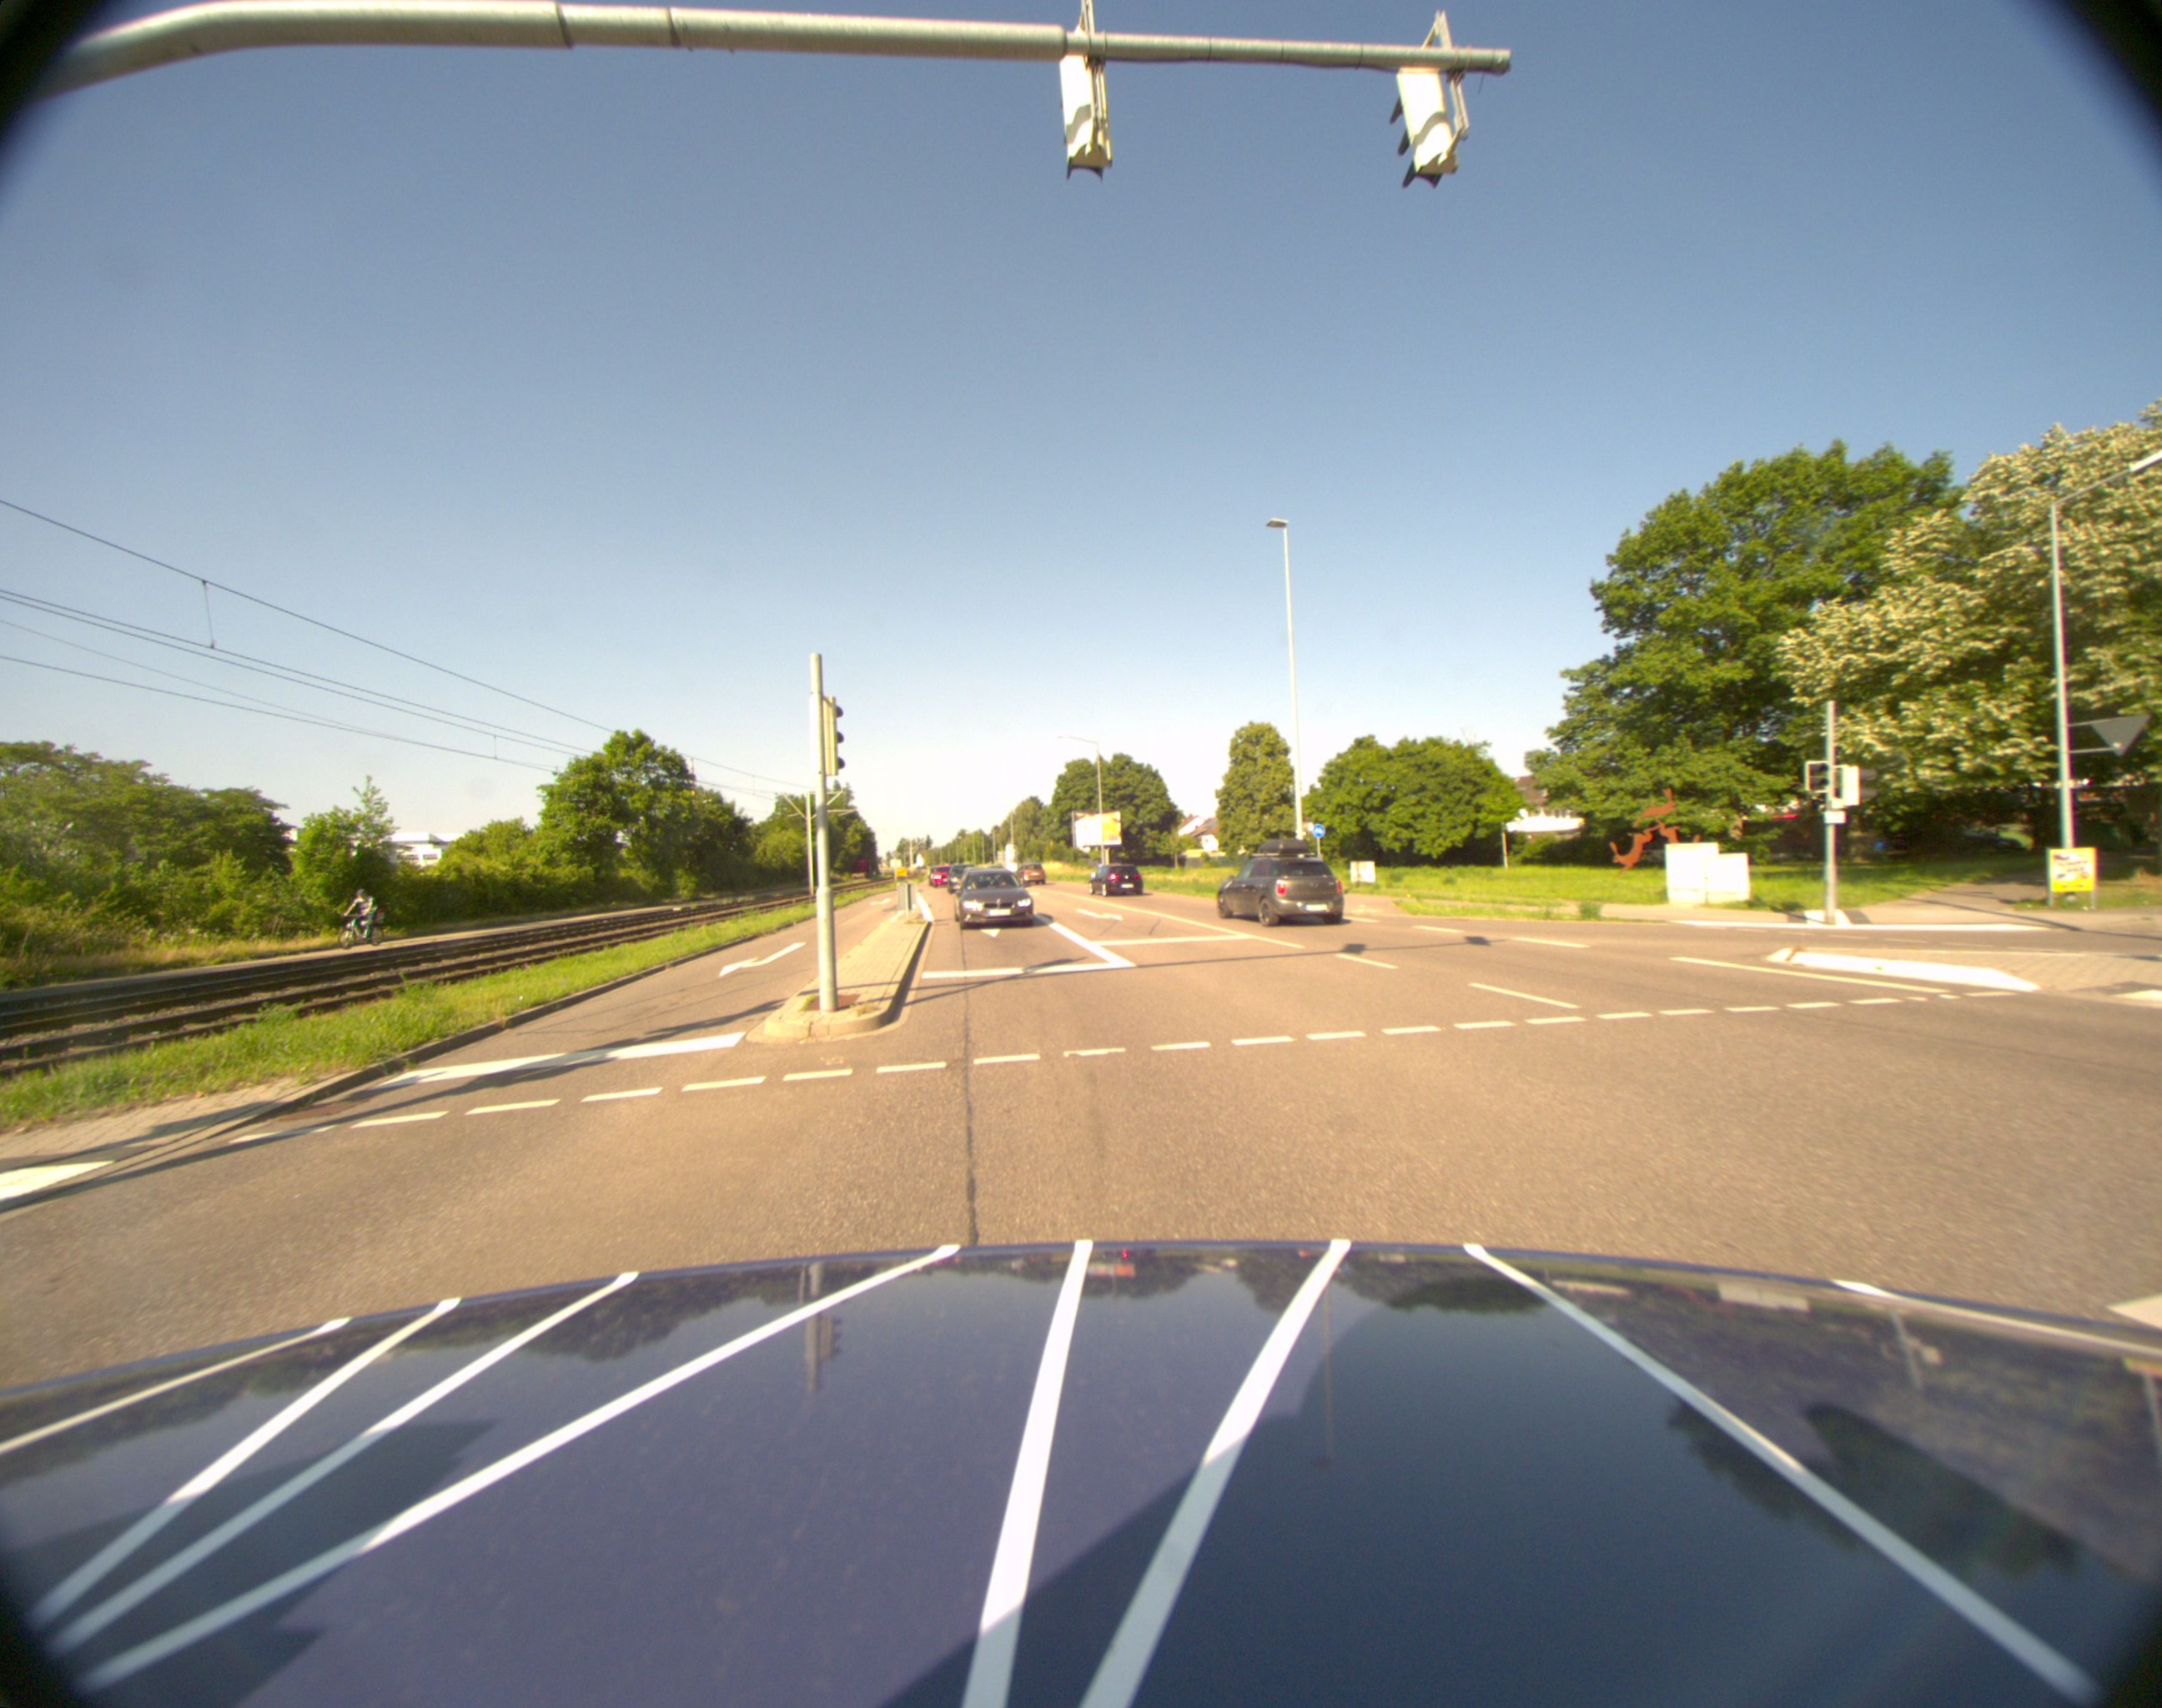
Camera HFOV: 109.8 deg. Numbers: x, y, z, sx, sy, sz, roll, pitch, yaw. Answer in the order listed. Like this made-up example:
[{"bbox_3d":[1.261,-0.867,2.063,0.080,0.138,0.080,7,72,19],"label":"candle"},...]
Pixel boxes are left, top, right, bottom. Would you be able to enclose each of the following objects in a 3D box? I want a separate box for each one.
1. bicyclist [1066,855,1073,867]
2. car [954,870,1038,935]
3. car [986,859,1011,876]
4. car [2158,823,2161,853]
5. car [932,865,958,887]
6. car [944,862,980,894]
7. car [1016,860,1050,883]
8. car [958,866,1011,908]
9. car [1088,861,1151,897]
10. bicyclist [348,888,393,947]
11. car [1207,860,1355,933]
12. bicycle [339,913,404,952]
[{"bbox_3d":[-1.446,0.887,96.482,0.639,1.420,1.070,-2,0,-12],"label":"bicyclist"},{"bbox_3d":[-2.343,1.172,19.958,1.822,1.416,4.457,-1,0,-11],"label":"car"},{"bbox_3d":[-8.015,1.297,73.503,1.709,1.456,4.364,-2,0,-14],"label":"car"},{"bbox_3d":[48.438,-0.726,31.465,1.523,1.312,4.774,-2,0,12],"label":"car"},{"bbox_3d":[-10.147,1.595,56.591,1.808,1.498,4.193,-2,0,-11],"label":"car"},{"bbox_3d":[-6.878,1.323,43.588,1.822,1.641,4.607,-4,0,-11],"label":"car"},{"bbox_3d":[-3.513,1.248,54.886,1.752,1.552,3.995,-1,0,-14],"label":"car"},{"bbox_3d":[-4.053,1.285,31.318,1.822,1.481,4.607,-2,0,-11],"label":"car"},{"bbox_3d":[1.679,1.098,34.855,1.895,1.465,4.096,-2,0,-11],"label":"car"},{"bbox_3d":[-22.645,2.014,24.228,0.708,1.797,0.717,-2,0,-10],"label":"bicyclist"},{"bbox_3d":[4.658,0.924,18.323,1.795,1.511,3.996,-2,0,-12],"label":"car"},{"bbox_3d":[-22.625,2.468,24.263,0.547,1.041,1.872,-2,0,-10],"label":"bicycle"}]
